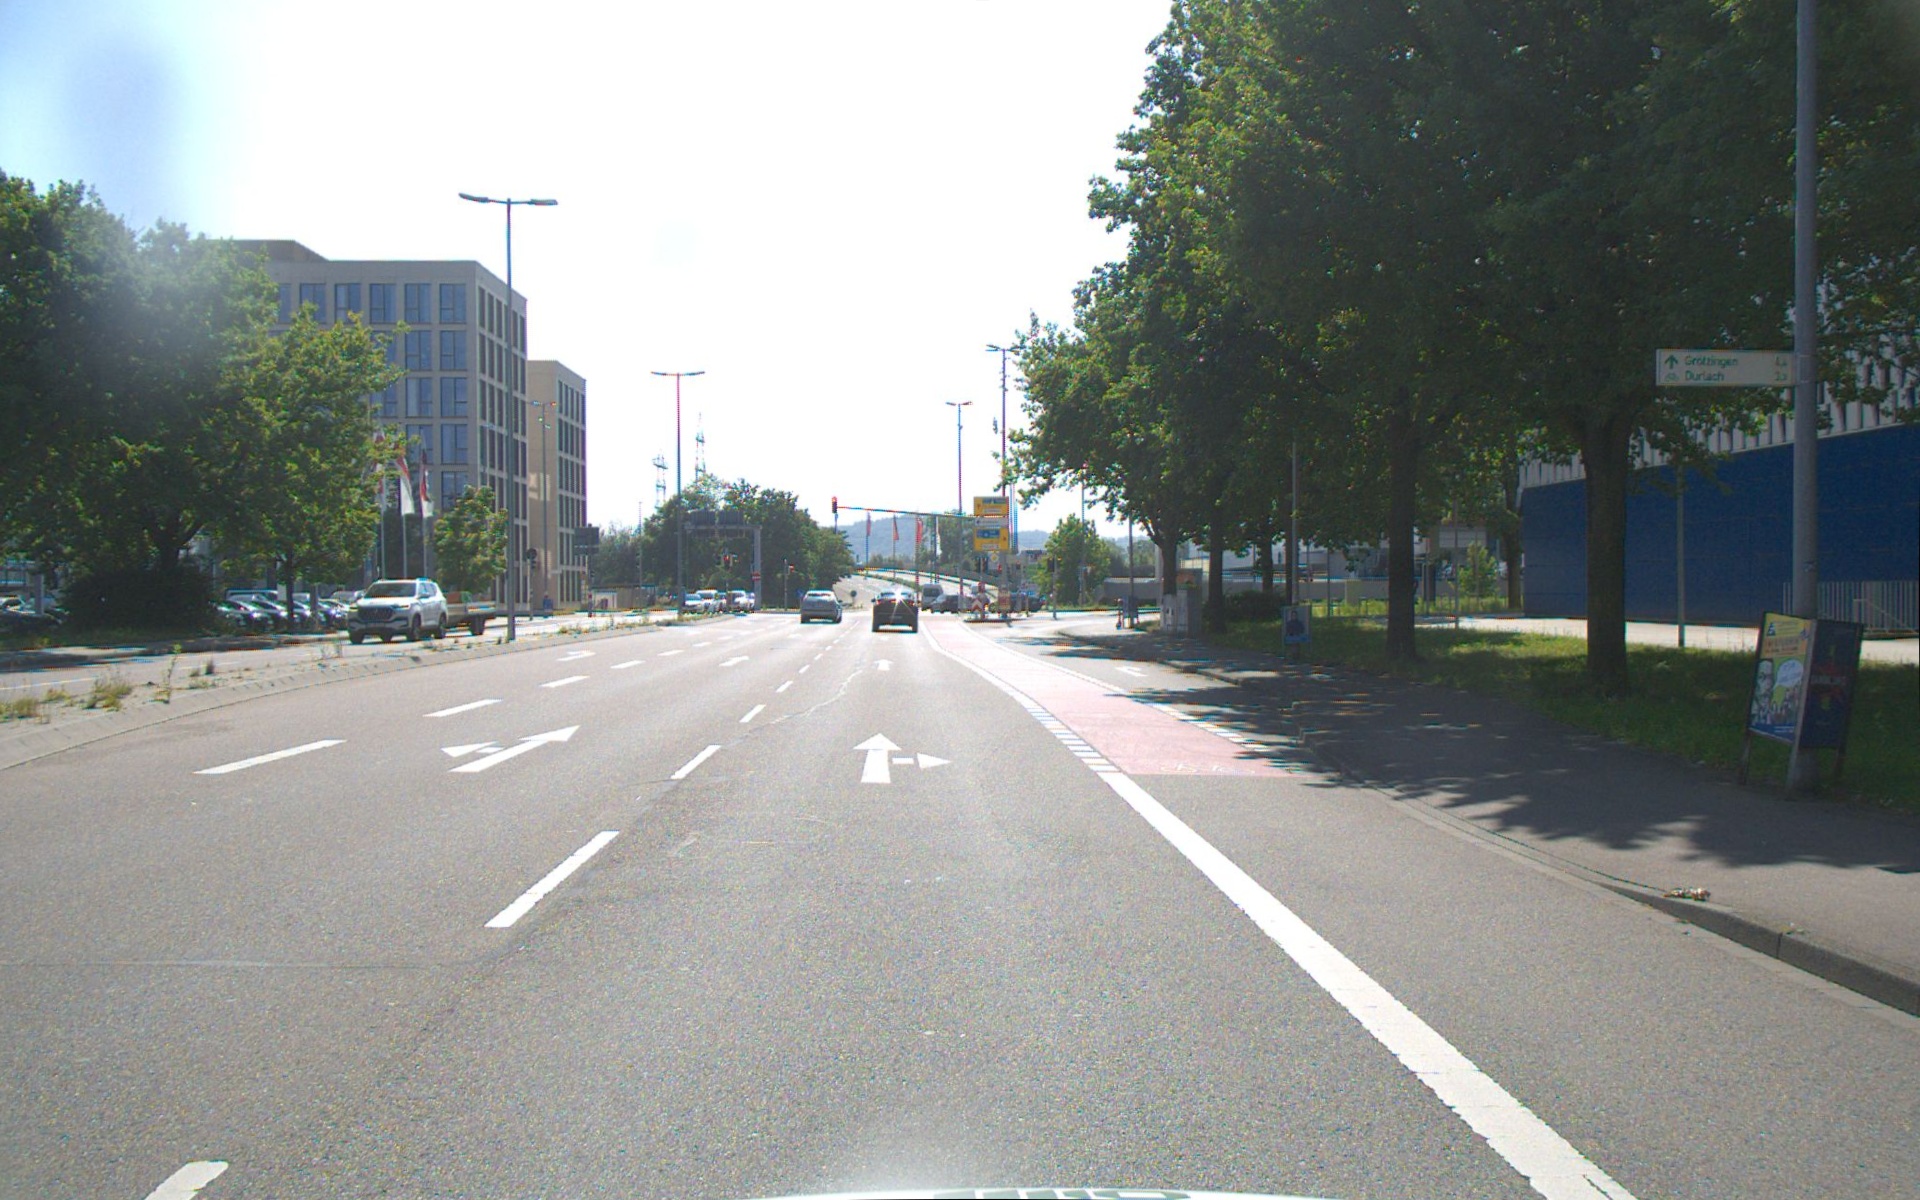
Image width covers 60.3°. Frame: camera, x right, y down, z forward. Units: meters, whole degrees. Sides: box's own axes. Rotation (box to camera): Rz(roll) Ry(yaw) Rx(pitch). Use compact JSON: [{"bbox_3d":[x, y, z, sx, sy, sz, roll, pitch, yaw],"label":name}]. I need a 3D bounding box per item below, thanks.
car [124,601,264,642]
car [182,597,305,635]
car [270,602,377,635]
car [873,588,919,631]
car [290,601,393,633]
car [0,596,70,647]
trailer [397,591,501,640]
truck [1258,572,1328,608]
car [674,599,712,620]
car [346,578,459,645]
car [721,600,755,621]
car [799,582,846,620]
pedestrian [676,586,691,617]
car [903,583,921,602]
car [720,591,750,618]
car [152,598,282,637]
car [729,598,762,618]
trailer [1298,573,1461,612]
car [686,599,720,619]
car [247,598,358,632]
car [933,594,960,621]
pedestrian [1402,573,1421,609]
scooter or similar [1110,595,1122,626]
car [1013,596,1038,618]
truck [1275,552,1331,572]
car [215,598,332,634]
[{"bbox_3d":[-27.310,0.761,59.067,4.067,1.366,1.999,-1,0,-3],"label":"car"},{"bbox_3d":[-27.683,0.610,64.001,3.907,1.366,1.999,-1,0,-3],"label":"car"},{"bbox_3d":[-27.852,0.791,72.448,3.907,1.366,1.999,-1,0,-3],"label":"car"},{"bbox_3d":[-2.567,0.354,66.792,1.771,1.668,4.457,-1,0,-2],"label":"car"},{"bbox_3d":[-27.960,0.752,74.834,3.907,1.366,1.999,-1,0,-3],"label":"car"},{"bbox_3d":[-27.765,0.609,46.975,3.906,1.400,1.924,-1,0,-2],"label":"car"},{"bbox_3d":[-16.772,0.472,54.553,1.954,1.478,5.768,-1,0,-4],"label":"trailer"},{"bbox_3d":[24.957,-0.765,124.050,4.779,2.466,2.001,2,1,1],"label":"truck"},{"bbox_3d":[-19.217,0.680,119.205,1.852,1.489,4.001,-1,0,3],"label":"car"},{"bbox_3d":[-16.480,0.325,49.155,1.954,1.864,4.934,-1,0,-4],"label":"car"},{"bbox_3d":[-16.141,0.740,120.485,1.778,1.489,4.001,-1,0,3],"label":"car"},{"bbox_3d":[-6.523,0.040,78.939,1.953,1.713,3.999,-1,0,-1],"label":"car"},{"bbox_3d":[-18.704,0.077,111.975,0.747,2.048,0.926,1,1,-27],"label":"pedestrian"},{"bbox_3d":[-5.442,-0.849,188.699,1.953,2.048,3.980,2,1,-1],"label":"car"},{"bbox_3d":[-12.191,0.247,89.632,1.190,1.354,2.800,2,1,0],"label":"car"},{"bbox_3d":[-27.665,0.638,61.688,3.907,1.366,1.999,-1,0,-3],"label":"car"},{"bbox_3d":[-16.508,0.579,127.449,1.778,1.489,4.001,-1,0,3],"label":"car"},{"bbox_3d":[31.375,-0.586,123.992,11.626,2.512,2.001,2,1,1],"label":"trailer"},{"bbox_3d":[-19.646,0.658,126.534,1.778,1.489,4.001,-1,0,3],"label":"car"},{"bbox_3d":[-27.751,0.635,69.931,3.907,1.366,1.999,-1,0,-3],"label":"car"},{"bbox_3d":[-1.047,0.548,123.904,1.723,1.789,3.600,2,1,-4],"label":"car"},{"bbox_3d":[23.299,-0.462,85.298,0.616,1.801,0.803,-1,0,-12],"label":"pedestrian"},{"bbox_3d":[6.553,0.435,69.311,0.343,1.255,1.312,-1,0,12],"label":"scooter or similar"},{"bbox_3d":[4.725,0.491,119.437,1.654,1.382,4.001,2,1,0],"label":"car"},{"bbox_3d":[38.545,-4.261,185.822,5.788,2.048,2.000,2,1,0],"label":"truck"},{"bbox_3d":[-27.764,0.648,66.985,3.908,1.366,1.999,-1,0,-4],"label":"car"}]
